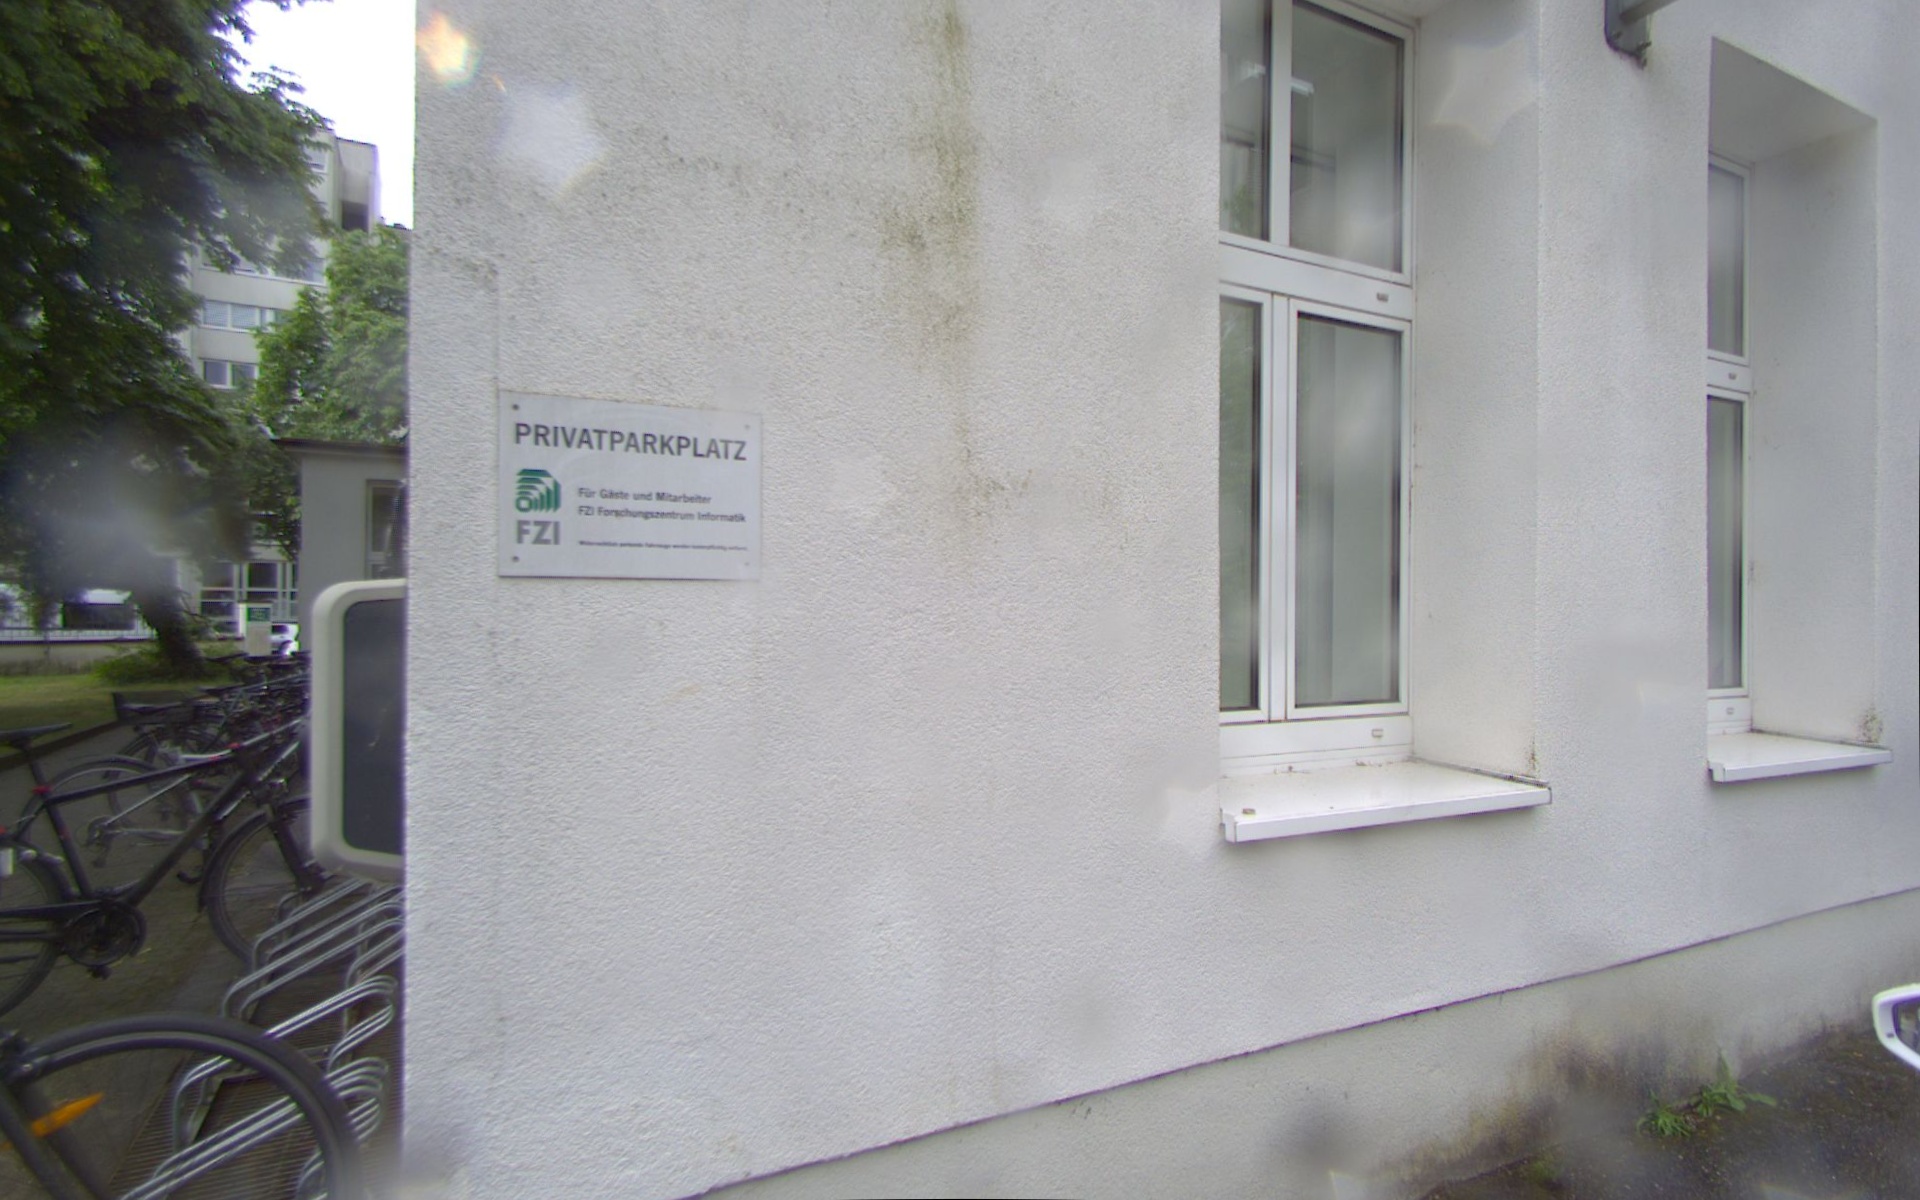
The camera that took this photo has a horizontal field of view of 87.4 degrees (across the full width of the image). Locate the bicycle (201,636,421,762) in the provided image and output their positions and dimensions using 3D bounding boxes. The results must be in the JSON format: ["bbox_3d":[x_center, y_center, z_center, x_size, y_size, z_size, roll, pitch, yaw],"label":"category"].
[{"bbox_3d":[-6.841,1.010,10.709,1.902,1.192,0.613,-1,0,-28],"label":"bicycle"}]

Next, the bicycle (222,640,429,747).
[{"bbox_3d":[-7.099,1.024,11.359,1.902,1.130,0.613,1,-2,-28],"label":"bicycle"}]

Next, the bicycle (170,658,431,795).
[{"bbox_3d":[-5.920,1.101,9.161,1.902,1.130,0.613,1,-2,-28],"label":"bicycle"}]

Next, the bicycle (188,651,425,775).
[{"bbox_3d":[-6.432,1.082,10.020,1.902,1.130,0.613,1,-2,-28],"label":"bicycle"}]

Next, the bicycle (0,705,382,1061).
[{"bbox_3d":[-3.210,1.000,3.755,1.765,1.130,0.613,1,-2,-28],"label":"bicycle"}]

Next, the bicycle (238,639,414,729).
[{"bbox_3d":[-8.390,1.095,13.390,1.902,1.130,0.613,1,-2,-28],"label":"bicycle"}]

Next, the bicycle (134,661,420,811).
[{"bbox_3d":[-5.662,1.096,8.477,1.902,1.130,0.613,1,-2,-28],"label":"bicycle"}]

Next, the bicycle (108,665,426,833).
[{"bbox_3d":[-5.166,1.074,7.662,1.902,1.130,0.613,1,-2,-28],"label":"bicycle"}]

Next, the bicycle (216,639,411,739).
[{"bbox_3d":[-7.730,1.046,12.121,1.902,1.130,0.613,1,-2,-28],"label":"bicycle"}]

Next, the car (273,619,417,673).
[{"bbox_3d":[-18.945,1.396,31.027,1.884,1.571,3.358,-2,-3,37],"label":"car"}]

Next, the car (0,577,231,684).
[{"bbox_3d":[-22.416,0.805,26.100,2.105,2.543,5.257,-2,-2,34],"label":"car"}]

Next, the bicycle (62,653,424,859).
[{"bbox_3d":[-4.752,0.985,6.840,1.902,1.240,0.613,1,-2,-28],"label":"bicycle"}]

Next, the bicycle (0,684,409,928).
[{"bbox_3d":[-4.068,1.054,5.542,1.765,1.130,0.613,1,-2,-28],"label":"bicycle"}]

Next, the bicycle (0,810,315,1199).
[{"bbox_3d":[-1.824,0.960,1.376,1.501,1.130,0.613,1,-2,-28],"label":"bicycle"}]
